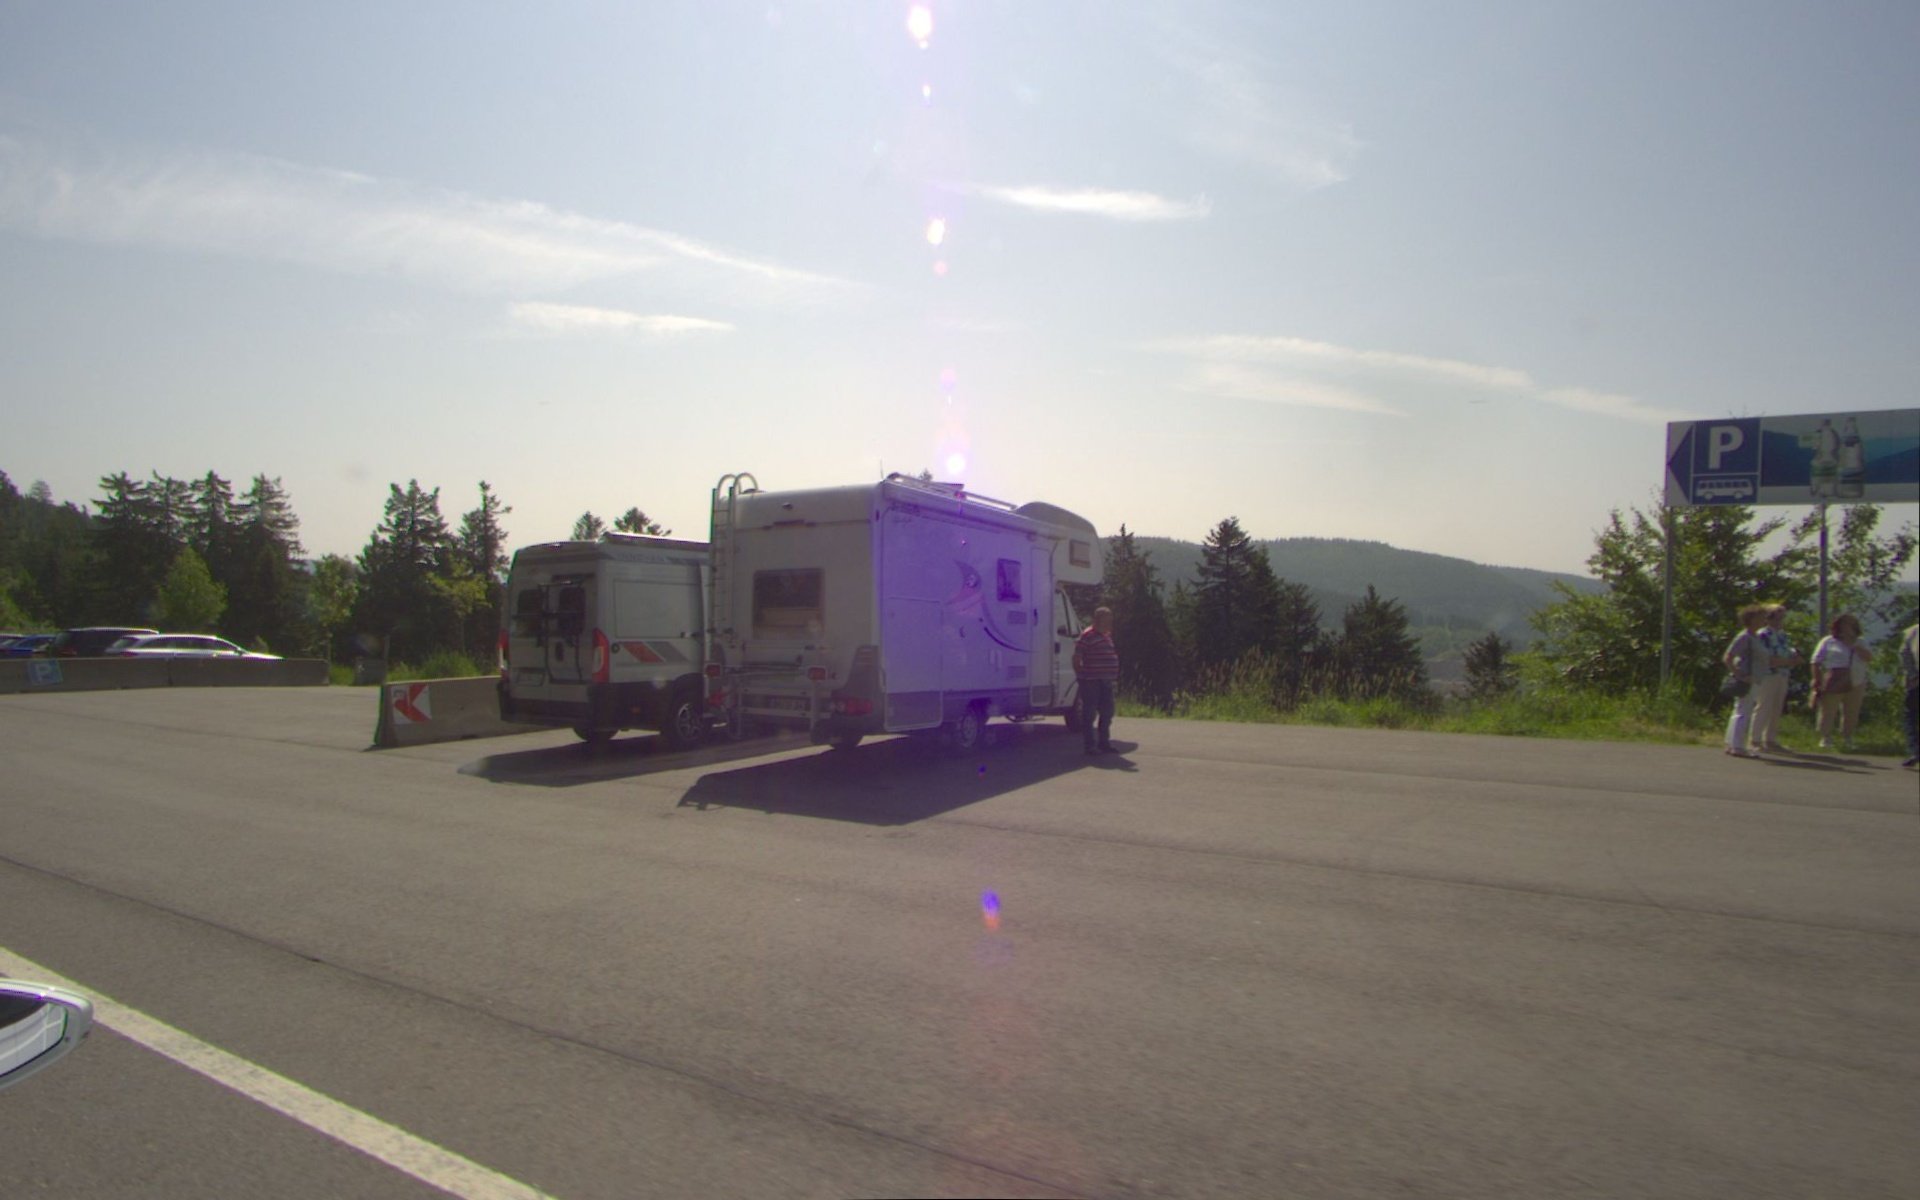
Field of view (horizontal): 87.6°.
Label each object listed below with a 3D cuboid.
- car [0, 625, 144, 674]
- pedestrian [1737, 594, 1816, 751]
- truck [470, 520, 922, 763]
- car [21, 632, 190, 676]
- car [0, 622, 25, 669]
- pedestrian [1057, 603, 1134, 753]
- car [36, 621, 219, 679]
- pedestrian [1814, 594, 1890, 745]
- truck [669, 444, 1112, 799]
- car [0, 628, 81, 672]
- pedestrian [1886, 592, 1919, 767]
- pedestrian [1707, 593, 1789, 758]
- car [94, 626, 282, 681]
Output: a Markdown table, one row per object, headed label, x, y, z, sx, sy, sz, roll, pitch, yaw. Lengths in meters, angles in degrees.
| label | x | y | z | sx | sy | sz | roll | pitch | yaw |
| --- | --- | --- | --- | --- | --- | --- | --- | --- | --- |
| car | -32.207 | 1.725 | 36.059 | 1.779 | 1.556 | 3.983 | 3 | 0 | 29 |
| pedestrian | 9.270 | 0.799 | 11.371 | 0.626 | 1.719 | 0.622 | 0 | 0 | -44 |
| truck | -3.256 | 0.481 | 14.073 | 2.307 | 2.625 | 6.247 | 0 | 0 | 33 |
| car | -29.007 | 1.797 | 34.108 | 1.959 | 1.370 | 3.980 | -1 | -2 | 32 |
| car | -38.441 | 1.751 | 37.814 | 1.865 | 1.816 | 4.258 | -2 | -2 | 31 |
| pedestrian | 1.553 | 0.867 | 11.512 | 0.637 | 1.662 | 0.630 | 0 | 0 | -24 |
| car | -25.291 | 1.546 | 30.565 | 1.576 | 1.667 | 3.985 | -1 | -3 | 30 |
| pedestrian | 10.559 | 0.798 | 11.855 | 0.626 | 1.719 | 0.622 | 0 | 0 | -44 |
| truck | -0.420 | 0.240 | 12.405 | 2.495 | 3.237 | 6.054 | -1 | -1 | 30 |
| car | -35.350 | 1.829 | 37.184 | 1.575 | 1.587 | 3.750 | -1 | -2 | 27 |
| pedestrian | 9.666 | 0.780 | 9.969 | 0.626 | 1.719 | 0.622 | 0 | 0 | -44 |
| pedestrian | 8.604 | 0.797 | 10.933 | 0.626 | 1.719 | 0.622 | 0 | 0 | -44 |
| car | -22.533 | 1.571 | 29.393 | 1.747 | 1.494 | 3.984 | 0 | -3 | 30 |
